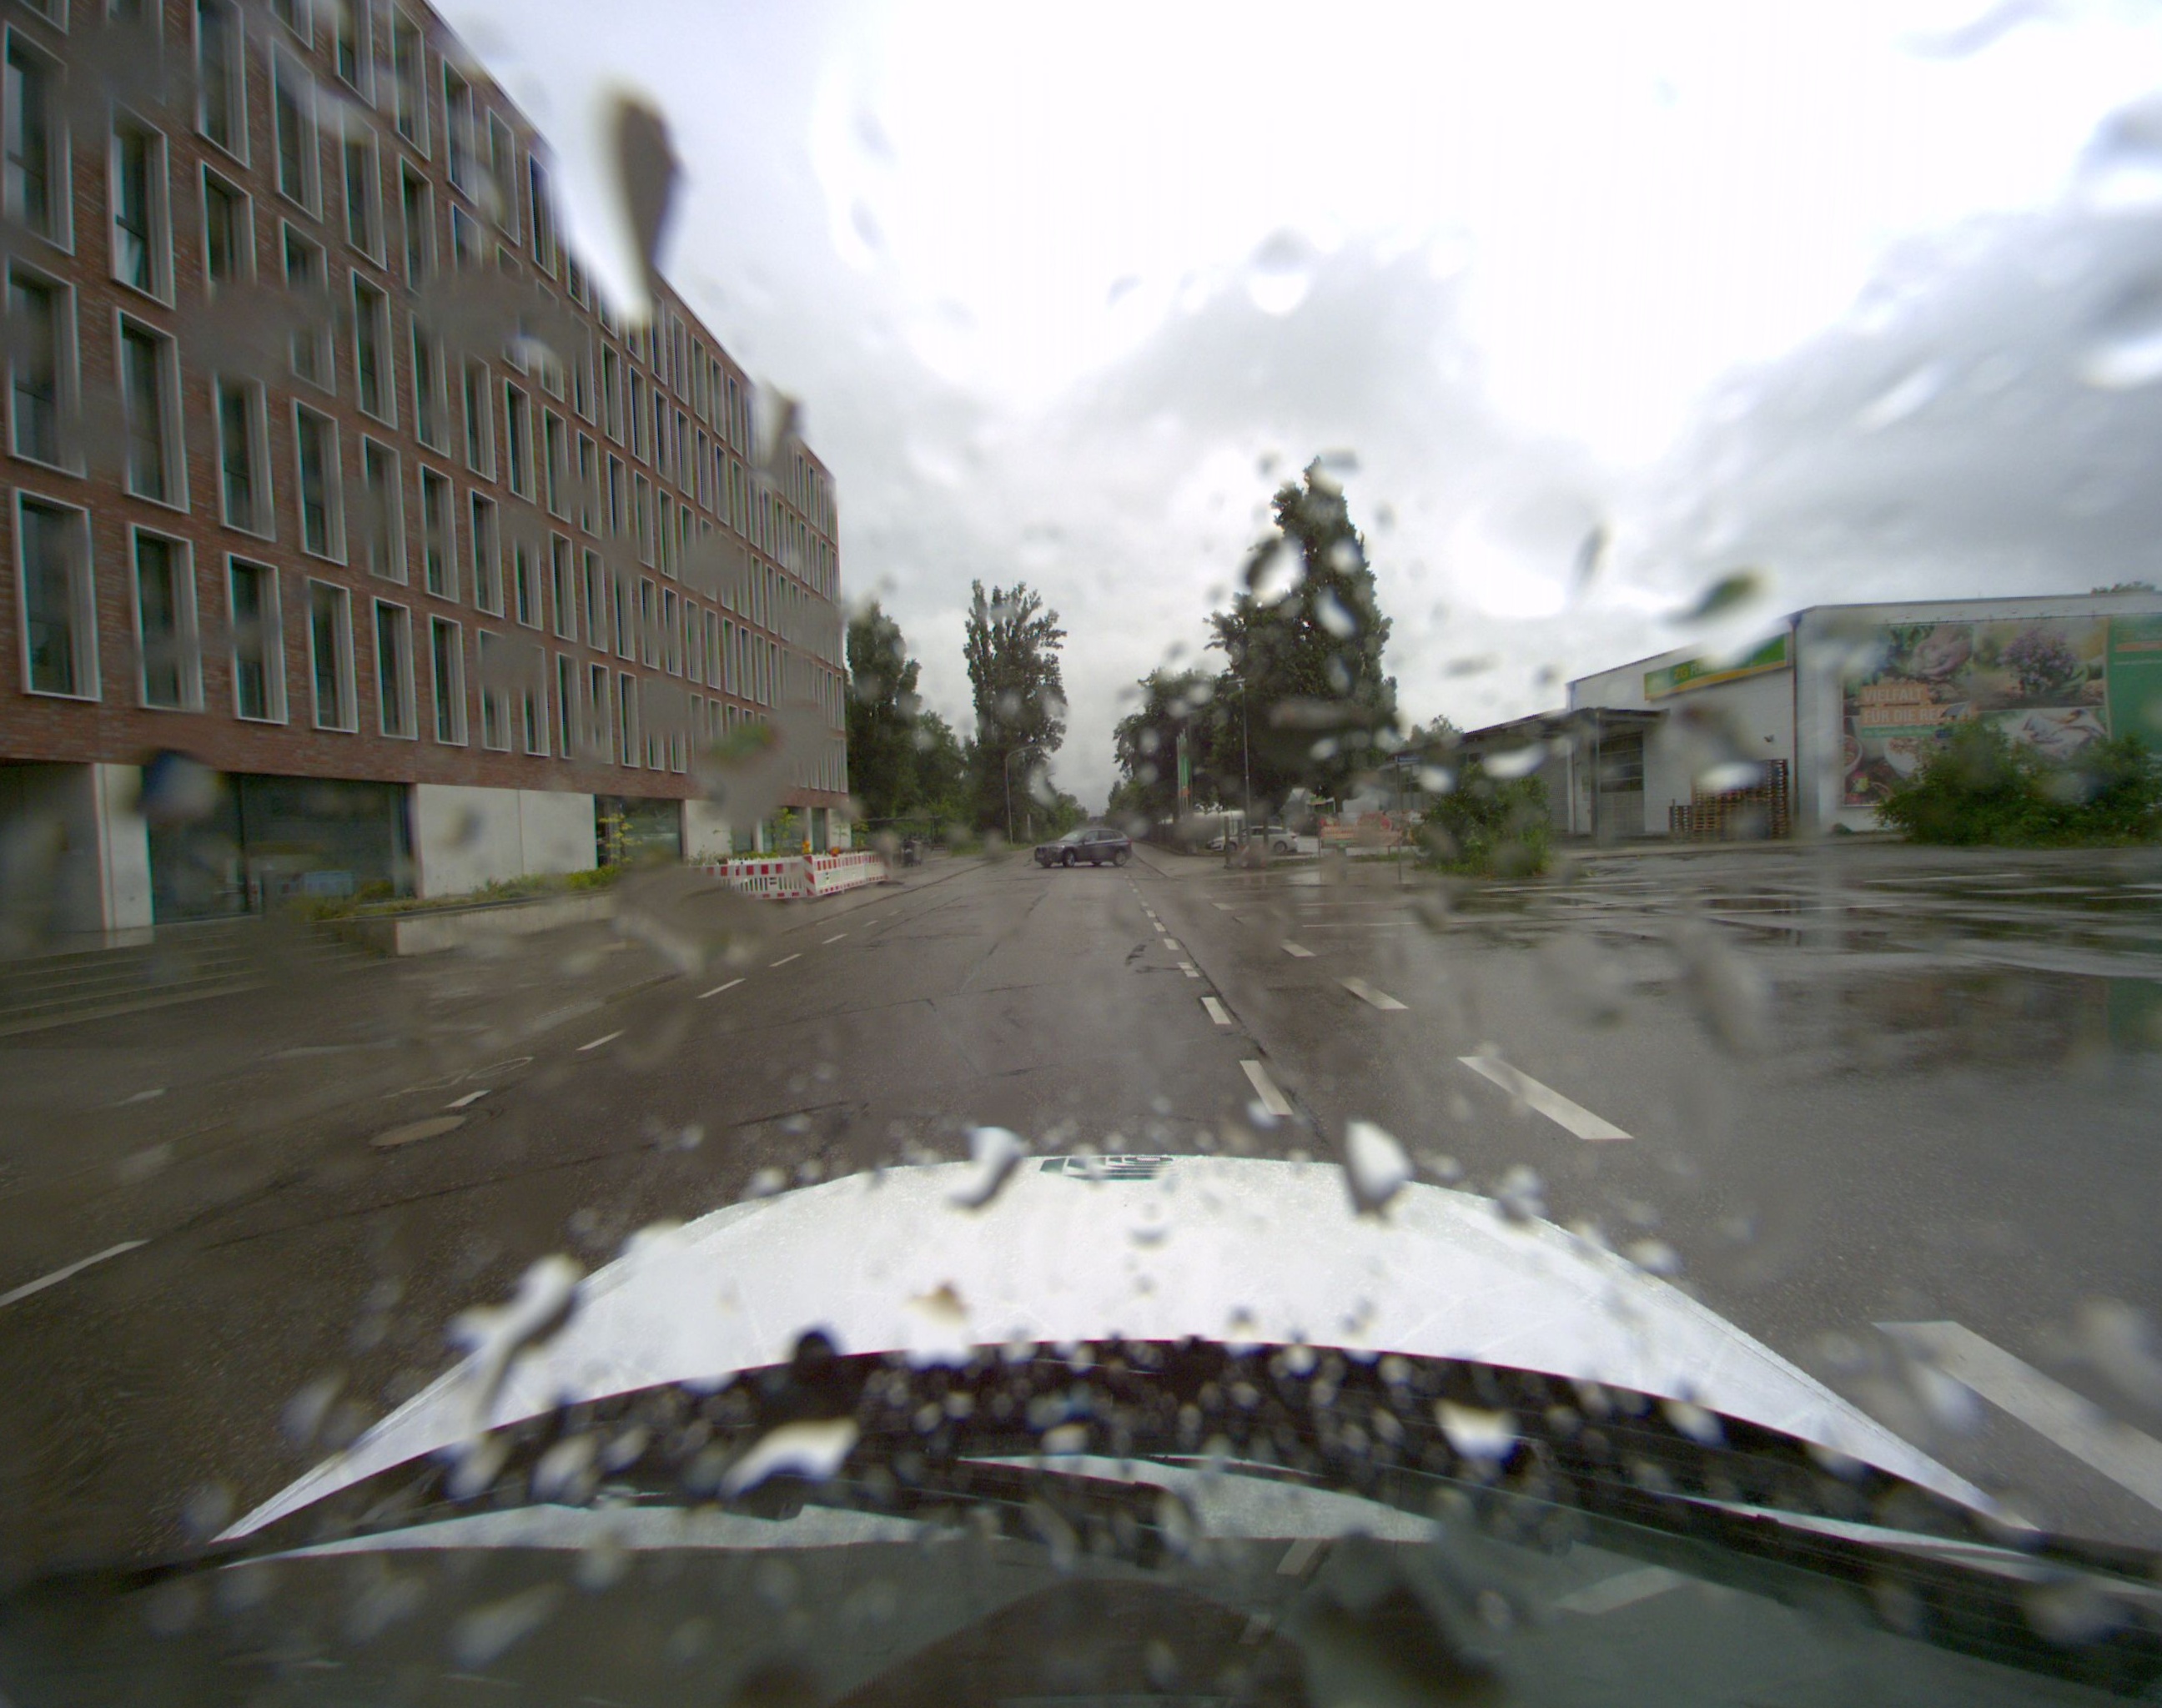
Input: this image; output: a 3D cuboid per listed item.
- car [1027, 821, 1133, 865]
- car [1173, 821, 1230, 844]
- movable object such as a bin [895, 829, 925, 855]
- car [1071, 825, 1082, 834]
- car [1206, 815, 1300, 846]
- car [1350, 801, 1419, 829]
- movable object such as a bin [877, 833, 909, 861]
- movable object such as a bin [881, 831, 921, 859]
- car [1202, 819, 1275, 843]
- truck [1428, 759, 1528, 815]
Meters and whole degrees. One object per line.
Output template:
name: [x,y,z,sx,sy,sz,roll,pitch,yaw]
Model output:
car: [0.003,-0.471,34.107,4.171,1.568,1.745,-5,3,-39]
car: [9.622,-1.731,65.297,4.195,1.600,1.824,-3,2,0]
movable object such as a bin: [-9.344,-0.644,44.630,1.291,1.332,1.358,-3,2,0]
car: [-0.818,-4.479,150.580,1.727,1.450,4.384,-5,2,2]
car: [9.315,-1.308,44.260,4.688,1.462,1.890,-2,2,-1]
car: [22.678,-2.899,61.001,4.345,1.832,2.065,-3,3,2]
movable object such as a bin: [-9.314,-0.363,40.383,1.293,1.308,1.446,-3,2,-5]
movable object such as a bin: [-9.307,-0.477,42.255,1.362,1.308,1.457,-2,2,23]
car: [9.085,-1.323,47.180,3.926,1.256,1.619,-2,2,-1]
truck: [21.628,-3.548,44.849,2.290,2.658,7.427,-4,2,5]
